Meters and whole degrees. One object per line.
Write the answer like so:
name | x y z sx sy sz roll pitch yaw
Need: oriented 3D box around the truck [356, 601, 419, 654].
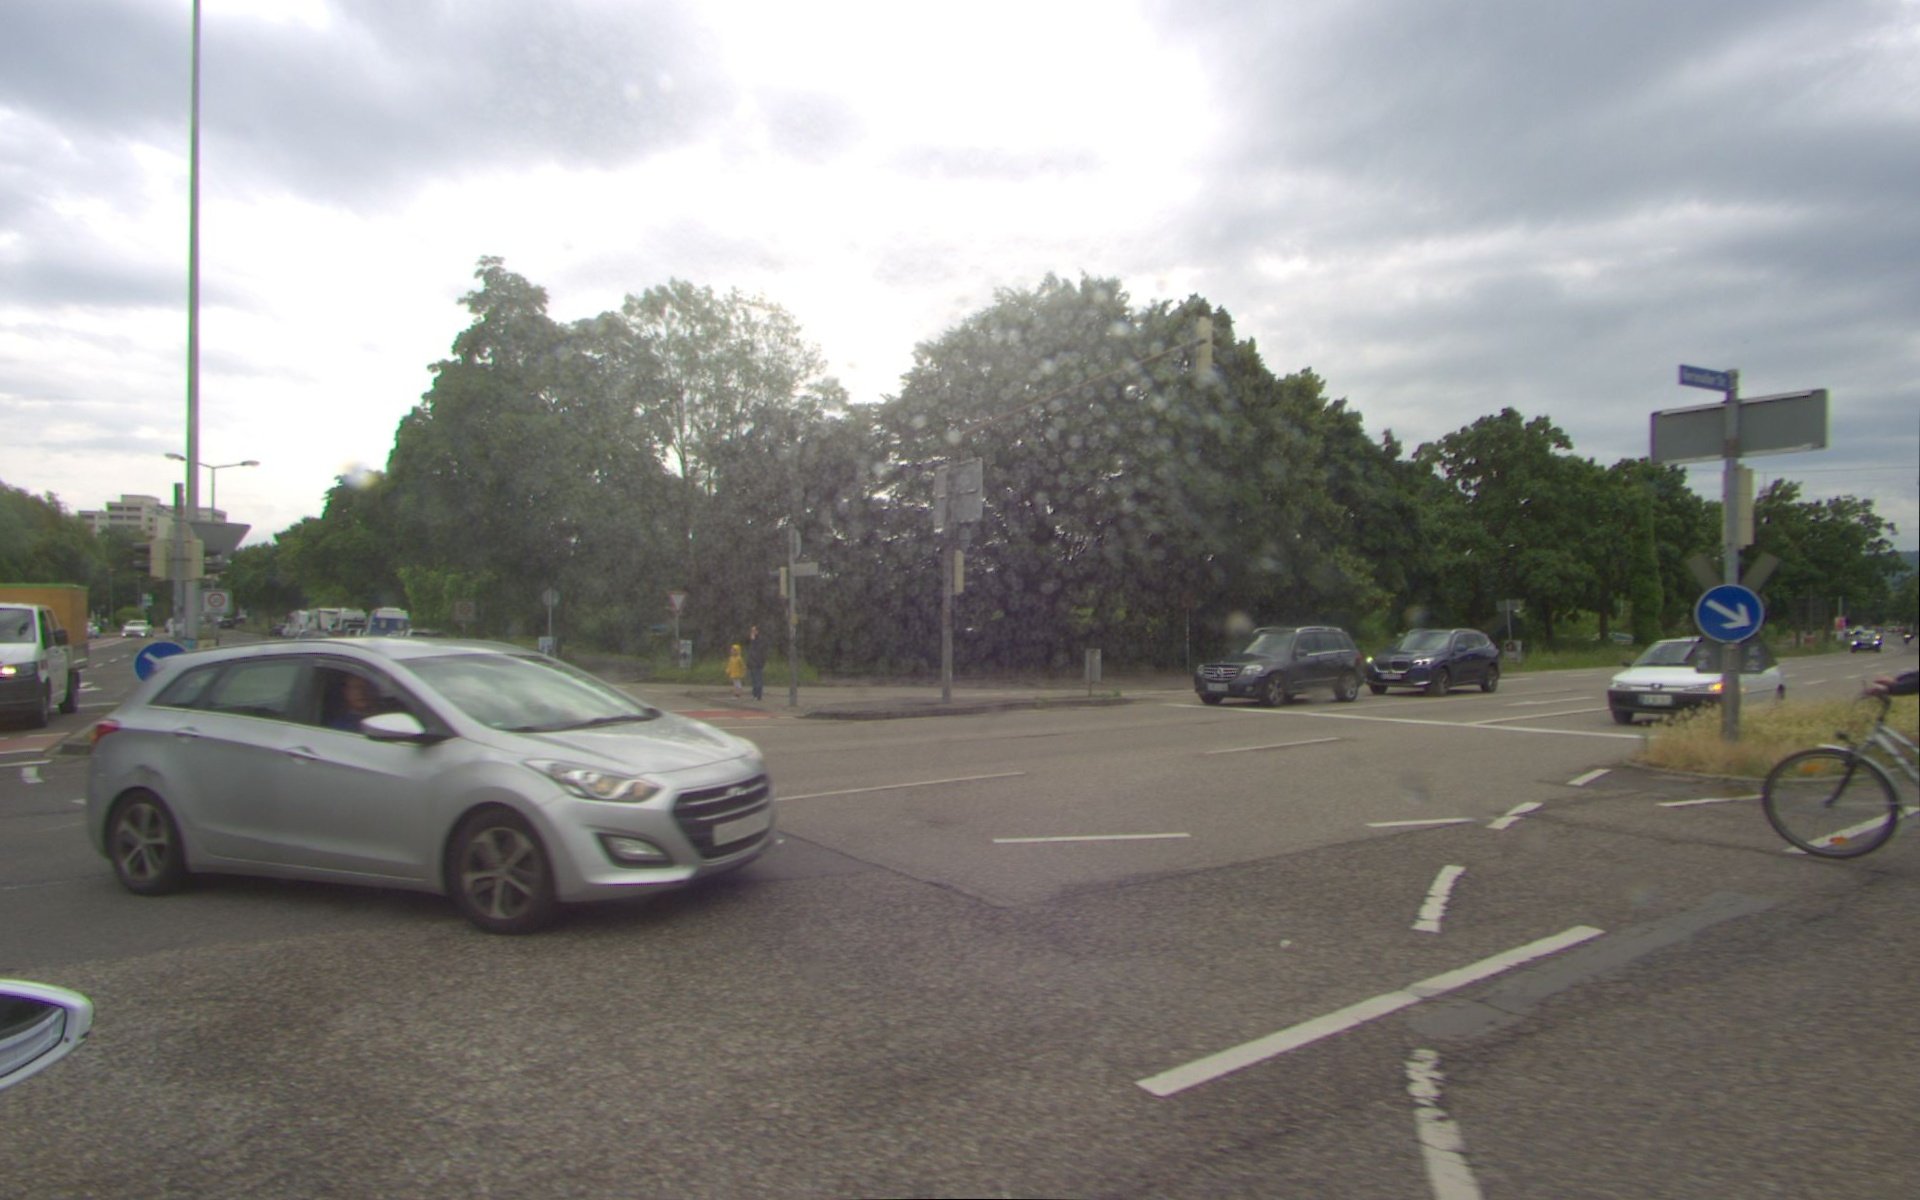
truck | -30.895 1.493 53.924 2.156 2.690 6.200 0 -1 -37

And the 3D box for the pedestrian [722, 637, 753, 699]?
pedestrian | -5.046 1.532 22.709 0.522 1.359 0.521 1 0 -38

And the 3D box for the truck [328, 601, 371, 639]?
truck | -47.529 1.564 77.881 1.979 2.875 5.681 1 -1 -41

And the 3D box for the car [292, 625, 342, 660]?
car | -29.788 1.920 46.349 1.780 1.476 4.511 1 -1 -35

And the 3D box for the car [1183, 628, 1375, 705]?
car | 7.067 1.393 22.001 4.426 1.523 1.833 1 -2 -37

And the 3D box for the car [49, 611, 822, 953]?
car | -3.151 0.850 6.099 4.250 1.538 1.791 0 -1 20

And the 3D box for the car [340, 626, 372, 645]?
car | -40.085 2.312 66.451 1.314 1.206 3.623 1 -1 -39

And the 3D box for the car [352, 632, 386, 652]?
car | -34.495 2.436 58.453 1.314 1.118 2.782 1 -1 -39

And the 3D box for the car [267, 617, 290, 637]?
car | -72.753 2.872 106.876 1.639 1.943 3.883 1 0 -41

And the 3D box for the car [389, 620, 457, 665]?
car | -21.539 1.644 40.083 1.769 1.683 3.969 1 -1 -37

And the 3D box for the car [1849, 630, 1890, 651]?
car | 70.912 3.156 78.059 3.954 1.594 1.746 1 -1 -39

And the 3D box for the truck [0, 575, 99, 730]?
truck | -15.906 0.785 16.431 2.136 2.227 5.800 1 -2 -35

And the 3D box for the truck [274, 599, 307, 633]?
truck | -63.194 1.556 94.446 1.978 3.047 5.723 1 -2 -40

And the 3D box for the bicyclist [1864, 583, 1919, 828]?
bicyclist | 6.040 0.641 5.907 0.616 1.442 0.954 6 -4 -38

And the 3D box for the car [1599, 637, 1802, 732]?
car | 12.407 1.317 16.696 4.100 1.375 1.635 1 -1 -37

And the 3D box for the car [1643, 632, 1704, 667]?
car | 33.308 2.291 46.732 3.853 1.550 1.645 2 -1 -44

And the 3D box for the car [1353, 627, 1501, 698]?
car | 11.894 1.528 25.410 3.954 1.639 1.864 1 -1 -39

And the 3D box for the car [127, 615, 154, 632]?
car | -75.672 2.166 92.532 1.629 1.614 3.972 1 -1 -36

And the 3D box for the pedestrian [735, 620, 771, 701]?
pedestrian | -4.608 1.340 22.269 0.651 1.772 0.455 1 0 -38

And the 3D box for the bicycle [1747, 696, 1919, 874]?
bicycle | 5.985 1.140 5.970 0.379 0.993 2.014 1 -1 -37

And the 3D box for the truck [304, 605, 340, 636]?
truck | -55.411 1.827 86.929 1.978 2.605 5.335 1 -2 -39
